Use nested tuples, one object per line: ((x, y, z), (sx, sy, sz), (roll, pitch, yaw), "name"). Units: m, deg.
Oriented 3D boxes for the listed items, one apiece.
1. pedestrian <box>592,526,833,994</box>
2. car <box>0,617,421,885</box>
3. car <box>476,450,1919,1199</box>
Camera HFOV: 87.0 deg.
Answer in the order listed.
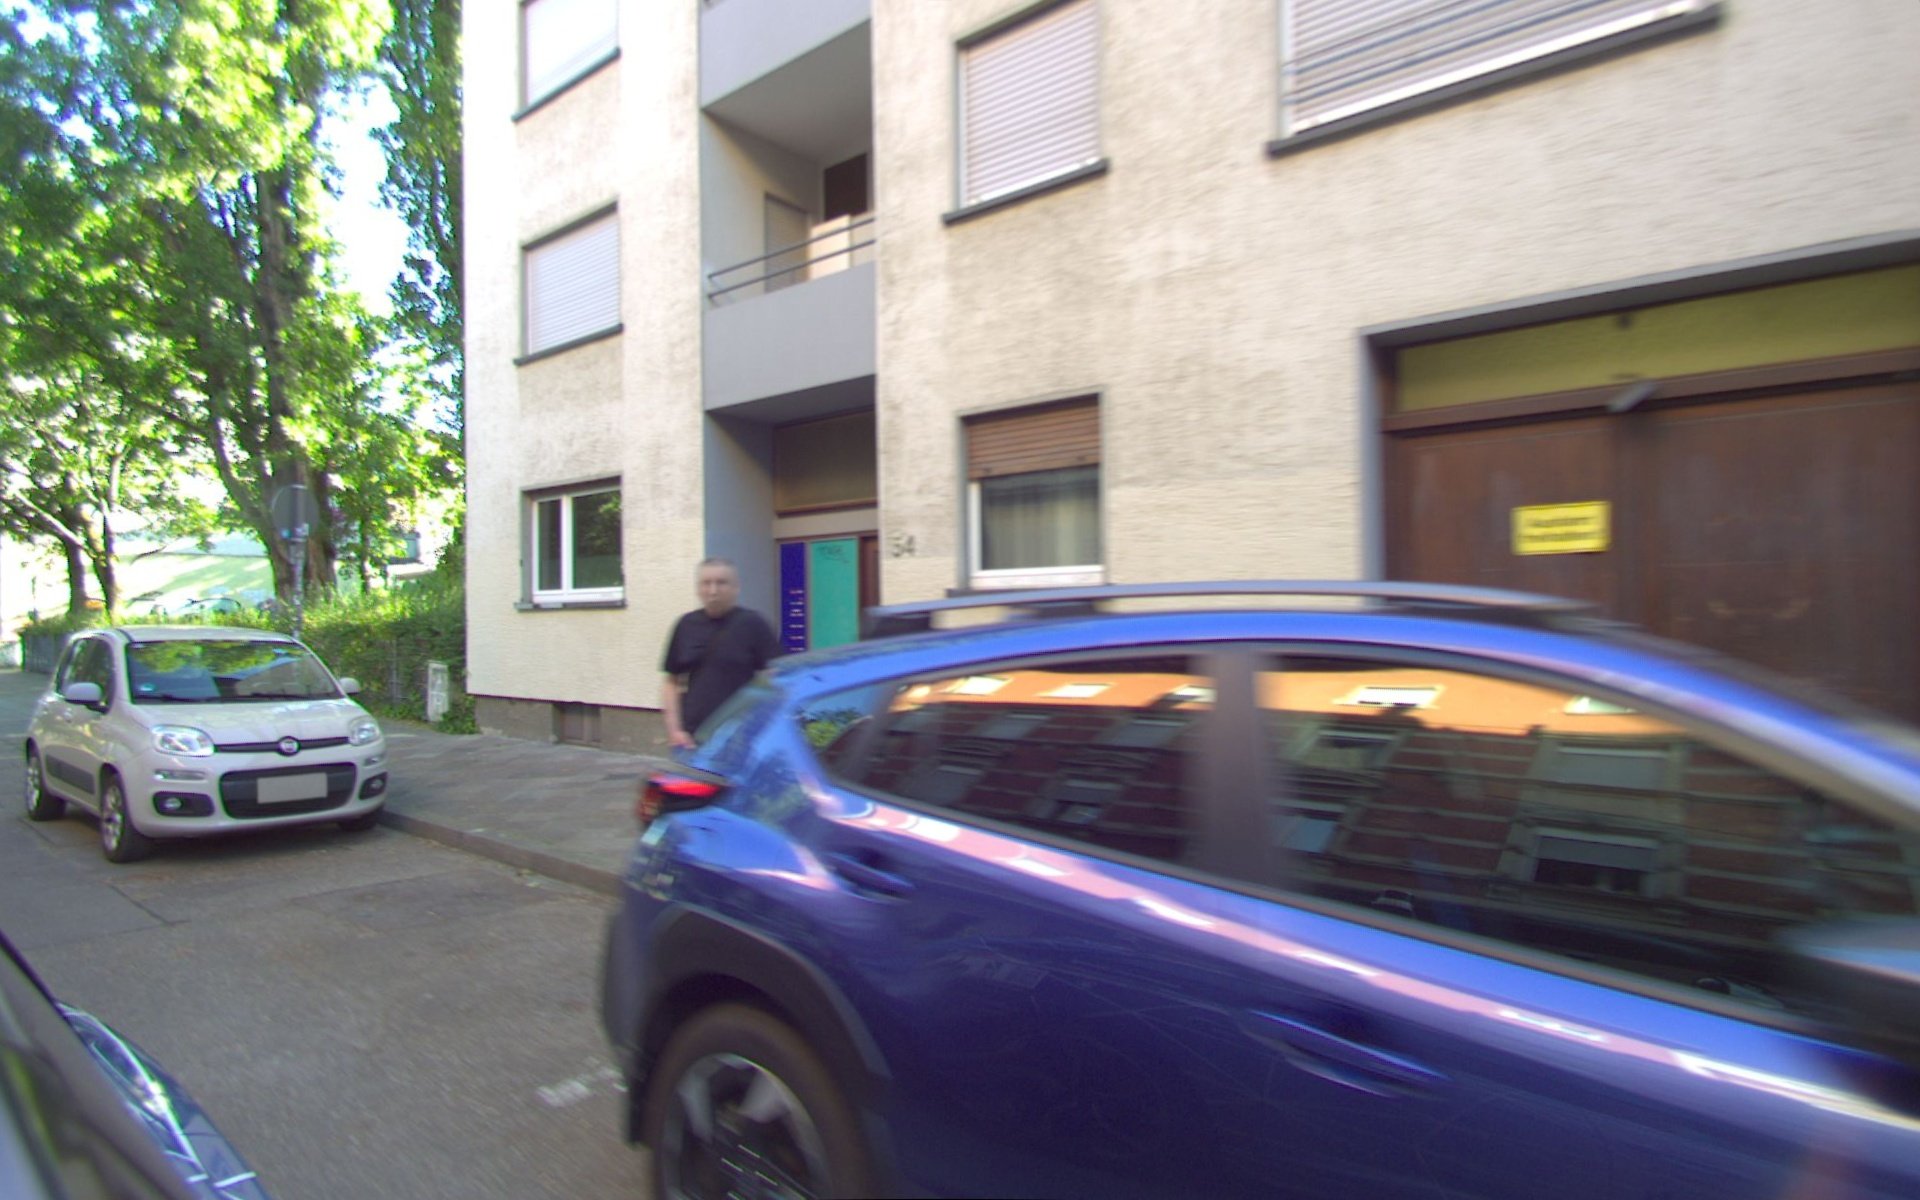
((-1.075, 0.648, 4.567), (0.667, 1.854, 0.905), (-1, -3, 18), "pedestrian")
((-5.896, 0.942, 7.724), (3.862, 1.551, 1.659), (-1, -3, 37), "car")
((1.112, 0.679, 1.788), (4.370, 1.551, 1.713), (-1, -3, 37), "car")
